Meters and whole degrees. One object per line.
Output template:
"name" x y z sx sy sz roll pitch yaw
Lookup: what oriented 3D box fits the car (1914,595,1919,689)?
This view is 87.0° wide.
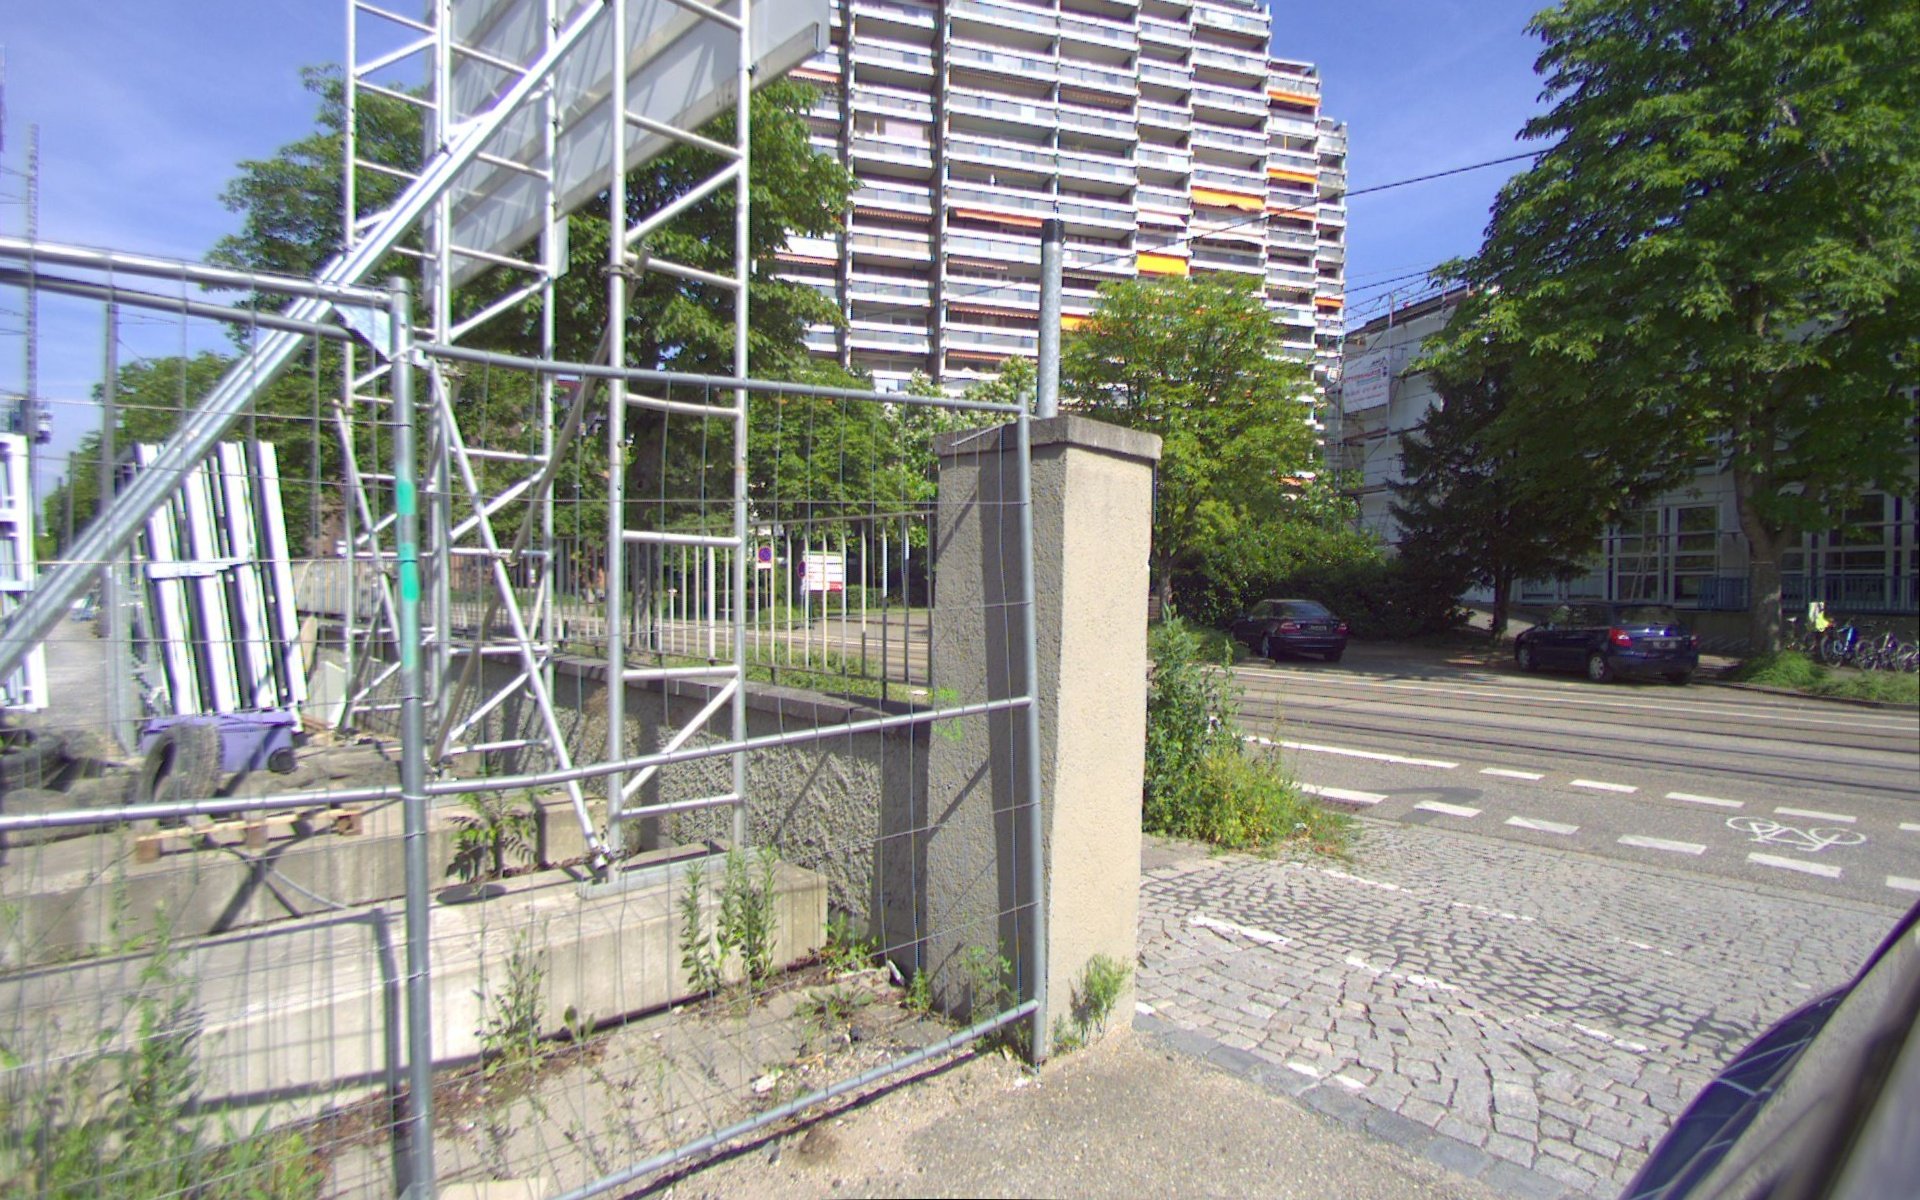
"car" 17.007 0.711 14.873 1.773 1.585 4.391 0 0 -1

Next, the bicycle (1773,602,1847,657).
"bicycle" 19.380 0.667 23.068 1.975 1.215 0.490 1 0 -24

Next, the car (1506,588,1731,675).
"car" 12.454 0.539 19.493 1.769 1.467 3.983 1 0 1

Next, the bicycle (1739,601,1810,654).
"bicycle" 19.201 0.632 23.852 1.975 1.215 0.490 1 0 -26

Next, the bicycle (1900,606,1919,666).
"bicycle" 20.177 0.735 20.821 1.975 1.215 0.490 1 0 -24

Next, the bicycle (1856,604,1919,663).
"bicycle" 19.879 0.704 21.503 1.975 1.215 0.490 1 0 -24

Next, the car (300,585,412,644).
"car" -16.926 0.361 28.270 1.965 1.498 4.349 1 0 -40

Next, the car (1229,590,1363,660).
"car" 7.910 0.528 24.229 1.808 1.427 4.148 -1 1 0

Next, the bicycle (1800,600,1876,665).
"bicycle" 19.461 0.708 22.425 1.975 1.396 0.490 1 0 -24

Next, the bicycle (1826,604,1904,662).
"bicycle" 19.663 0.708 21.984 1.975 1.215 0.490 1 0 -24
